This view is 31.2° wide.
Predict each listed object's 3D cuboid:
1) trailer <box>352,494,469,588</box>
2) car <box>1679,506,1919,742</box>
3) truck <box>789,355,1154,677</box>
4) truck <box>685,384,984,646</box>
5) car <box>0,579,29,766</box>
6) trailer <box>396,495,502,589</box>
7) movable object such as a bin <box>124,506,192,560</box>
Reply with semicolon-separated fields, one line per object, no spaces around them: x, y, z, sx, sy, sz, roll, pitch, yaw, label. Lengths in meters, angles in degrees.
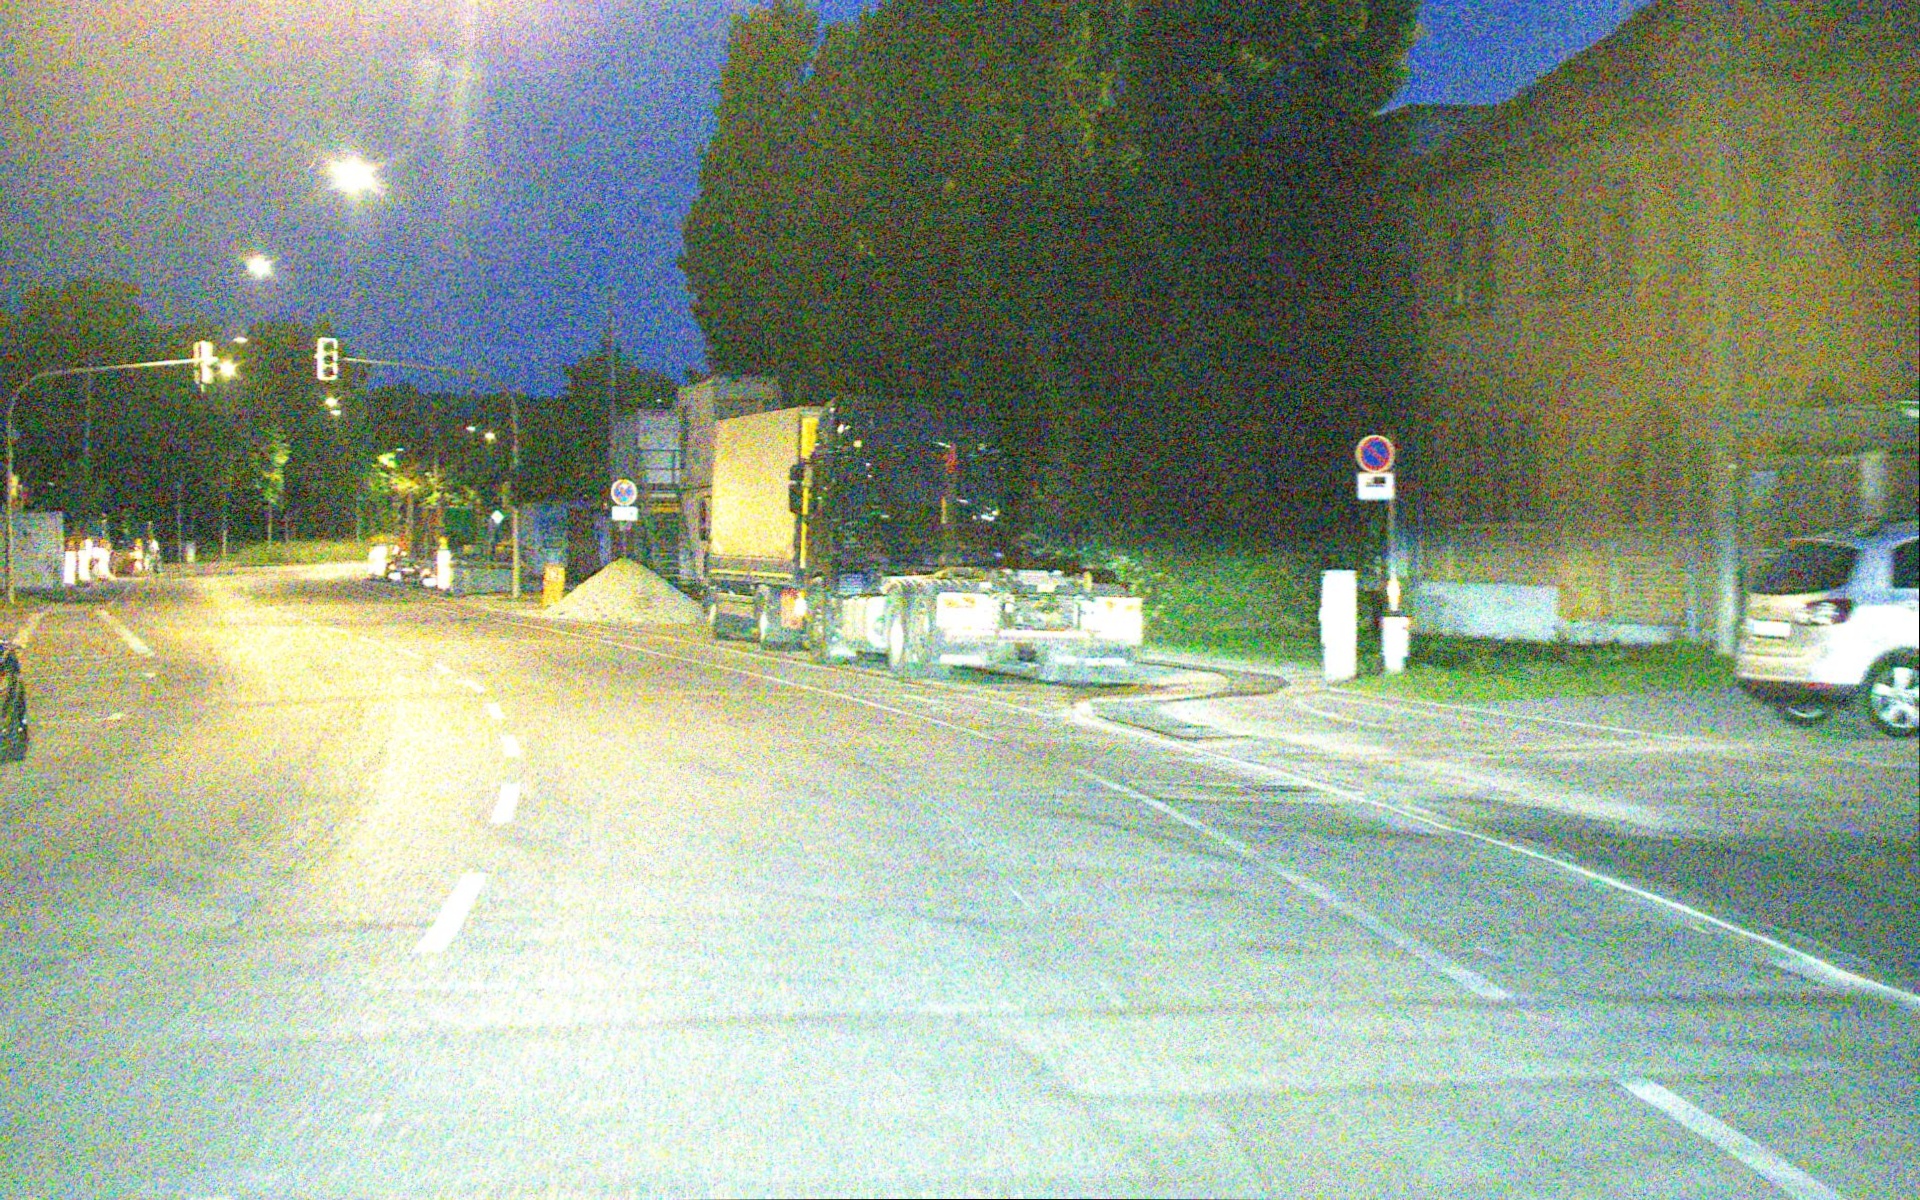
-19.608;-2.092;122.507;3.480;3.208;4.866;1;0;-17;trailer
7.990;0.089;26.538;4.325;1.640;1.893;-3;2;-14;car
-0.067;-1.063;45.052;2.754;3.770;9.140;-1;1;-13;truck
-2.196;-1.317;54.740;2.754;3.770;10.229;-1;1;-13;truck
-8.097;0.569;25.652;1.814;1.366;4.362;-1;1;-10;car
-16.120;-1.816;108.267;2.612;2.836;4.710;1;0;-17;trailer
-36.263;-3.040;155.505;1.993;2.368;4.702;-1;1;-1;movable object such as a bin
